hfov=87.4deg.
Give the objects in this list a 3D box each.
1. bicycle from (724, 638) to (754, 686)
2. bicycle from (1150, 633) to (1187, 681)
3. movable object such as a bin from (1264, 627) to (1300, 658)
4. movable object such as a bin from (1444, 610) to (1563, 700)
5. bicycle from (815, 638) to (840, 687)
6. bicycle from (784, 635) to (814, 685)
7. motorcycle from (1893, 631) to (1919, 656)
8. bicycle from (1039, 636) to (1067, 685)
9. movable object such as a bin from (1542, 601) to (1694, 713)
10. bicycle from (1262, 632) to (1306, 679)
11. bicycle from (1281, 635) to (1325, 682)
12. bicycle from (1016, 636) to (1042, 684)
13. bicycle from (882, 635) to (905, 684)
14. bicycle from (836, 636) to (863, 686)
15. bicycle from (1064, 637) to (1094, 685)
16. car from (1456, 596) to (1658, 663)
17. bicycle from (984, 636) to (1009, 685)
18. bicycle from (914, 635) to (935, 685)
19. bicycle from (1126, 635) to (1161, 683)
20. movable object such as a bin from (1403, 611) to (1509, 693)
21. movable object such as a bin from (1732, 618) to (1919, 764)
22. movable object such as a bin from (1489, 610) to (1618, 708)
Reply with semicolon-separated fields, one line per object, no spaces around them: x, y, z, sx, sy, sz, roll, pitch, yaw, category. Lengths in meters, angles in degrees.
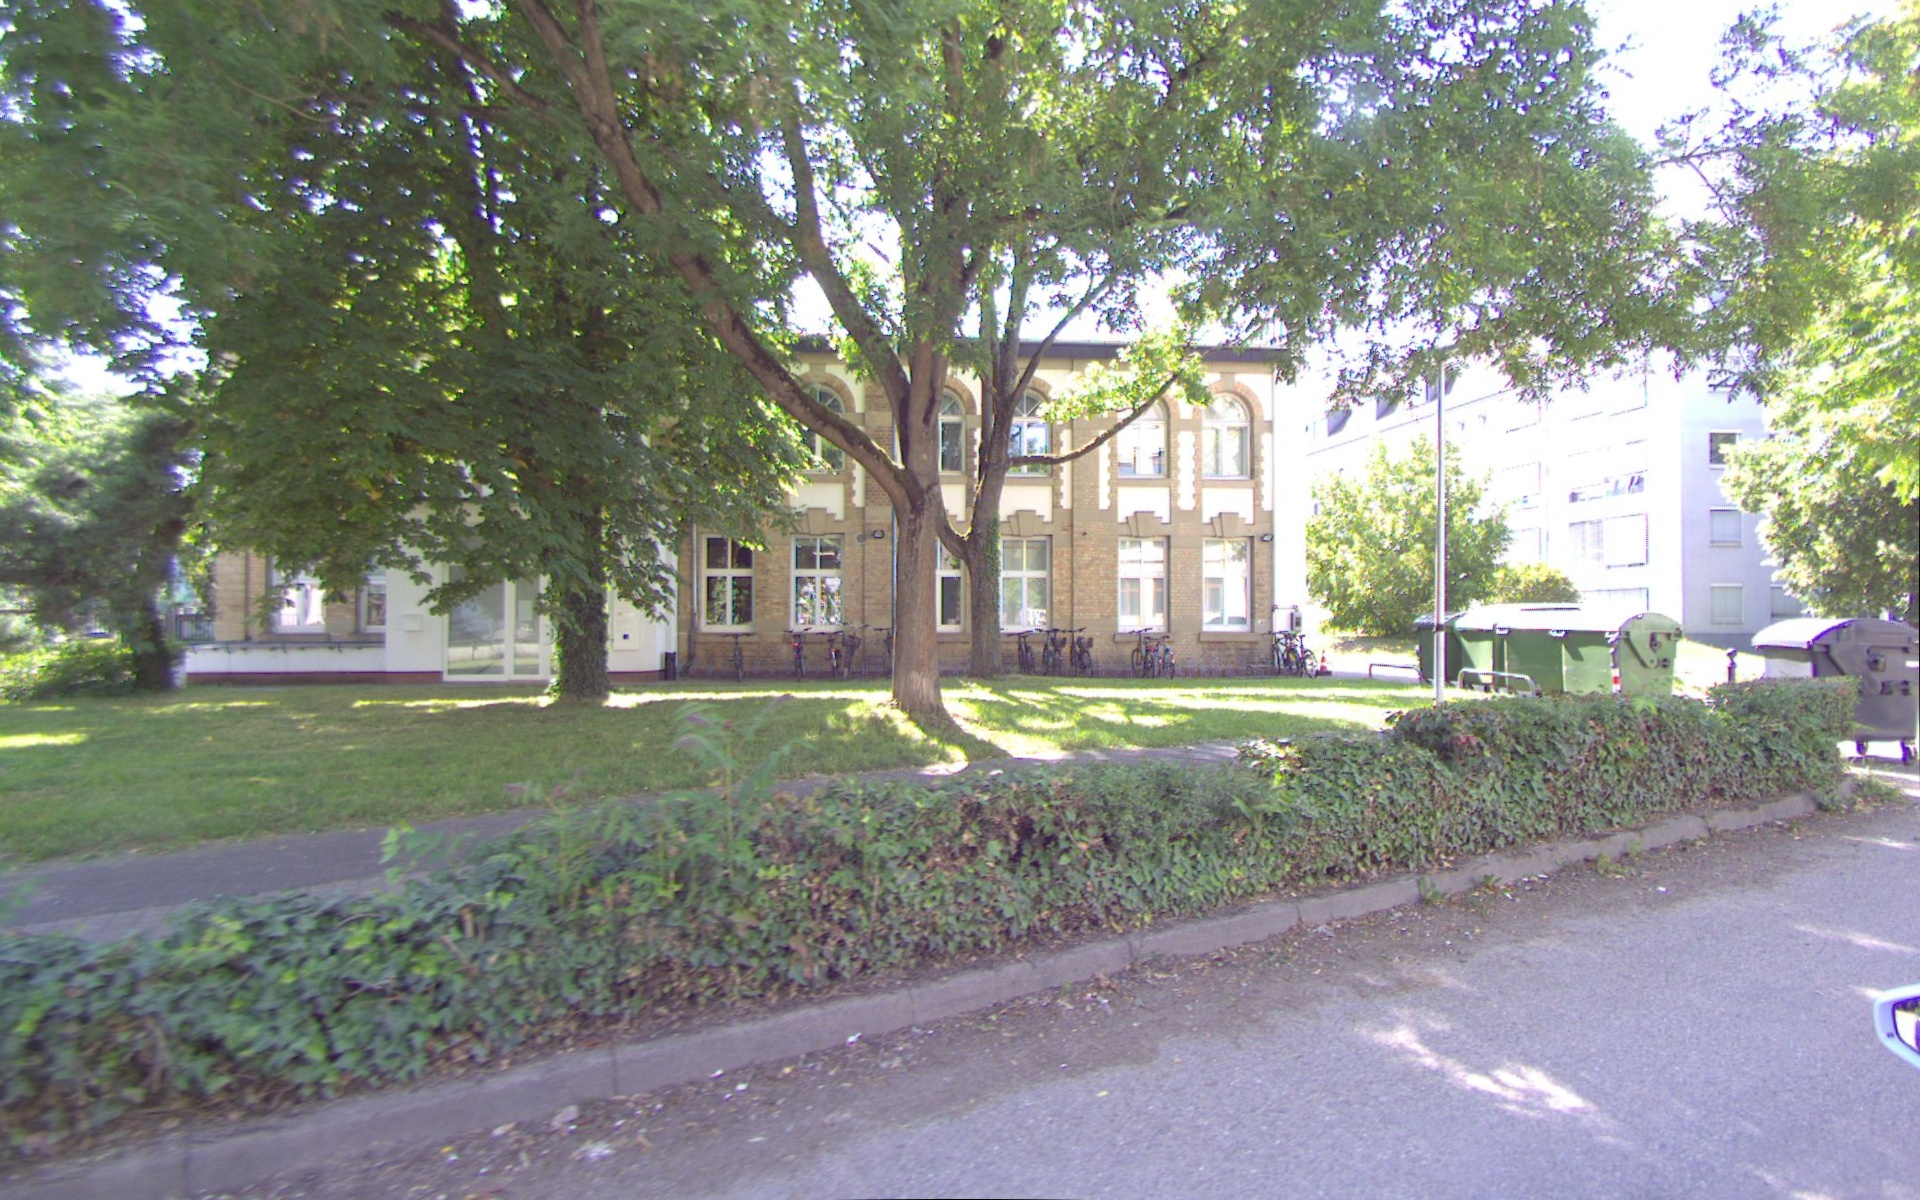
-4.796;1.335;21.871;0.437;1.005;1.540;1;-2;-6;bicycle
4.677;1.269;22.622;0.437;1.005;1.685;-1;0;-1;bicycle
14.623;1.911;45.595;1.227;1.358;1.142;-1;-1;-1;movable object such as a bin
9.188;0.912;17.042;1.224;1.450;1.365;0;-1;-5;movable object such as a bin
-2.892;1.361;22.033;0.367;1.002;1.600;0;-1;-1;bicycle
-3.502;1.290;21.920;0.437;1.005;1.541;-1;0;-1;bicycle
50.071;2.265;52.533;2.022;1.263;0.630;0;-1;-3;motorcycle
2.076;1.340;22.504;0.437;1.005;1.541;-1;0;-1;bicycle
9.291;0.786;14.249;1.226;1.501;1.337;0;-1;-10;movable object such as a bin
7.410;1.259;23.046;0.437;1.005;1.630;-1;0;-1;bicycle
7.885;1.329;23.137;0.437;1.005;1.541;-1;0;-1;bicycle
1.534;1.324;22.461;0.437;1.005;1.541;-1;0;-1;bicycle
-1.451;1.292;22.077;0.437;1.005;1.541;-1;0;-1;bicycle
-2.420;1.322;22.074;0.437;1.005;1.541;-1;0;-1;bicycle
2.665;1.348;22.550;0.437;1.005;1.541;-1;0;-1;bicycle
17.875;0.882;30.207;4.943;1.958;1.999;0;-1;-3;car
0.806;1.317;22.320;0.437;1.005;1.541;-1;0;-1;bicycle
-0.796;1.307;22.230;0.437;1.005;1.540;-1;0;-3;bicycle
4.110;1.312;22.623;0.437;1.005;1.666;-1;0;-1;bicycle
9.126;0.940;18.552;1.224;1.450;1.349;0;-1;-5;movable object such as a bin
9.196;0.906;10.566;1.223;1.415;1.405;-1;-1;14;movable object such as a bin
9.219;0.893;15.653;1.227;1.450;1.220;0;-1;-15;movable object such as a bin
